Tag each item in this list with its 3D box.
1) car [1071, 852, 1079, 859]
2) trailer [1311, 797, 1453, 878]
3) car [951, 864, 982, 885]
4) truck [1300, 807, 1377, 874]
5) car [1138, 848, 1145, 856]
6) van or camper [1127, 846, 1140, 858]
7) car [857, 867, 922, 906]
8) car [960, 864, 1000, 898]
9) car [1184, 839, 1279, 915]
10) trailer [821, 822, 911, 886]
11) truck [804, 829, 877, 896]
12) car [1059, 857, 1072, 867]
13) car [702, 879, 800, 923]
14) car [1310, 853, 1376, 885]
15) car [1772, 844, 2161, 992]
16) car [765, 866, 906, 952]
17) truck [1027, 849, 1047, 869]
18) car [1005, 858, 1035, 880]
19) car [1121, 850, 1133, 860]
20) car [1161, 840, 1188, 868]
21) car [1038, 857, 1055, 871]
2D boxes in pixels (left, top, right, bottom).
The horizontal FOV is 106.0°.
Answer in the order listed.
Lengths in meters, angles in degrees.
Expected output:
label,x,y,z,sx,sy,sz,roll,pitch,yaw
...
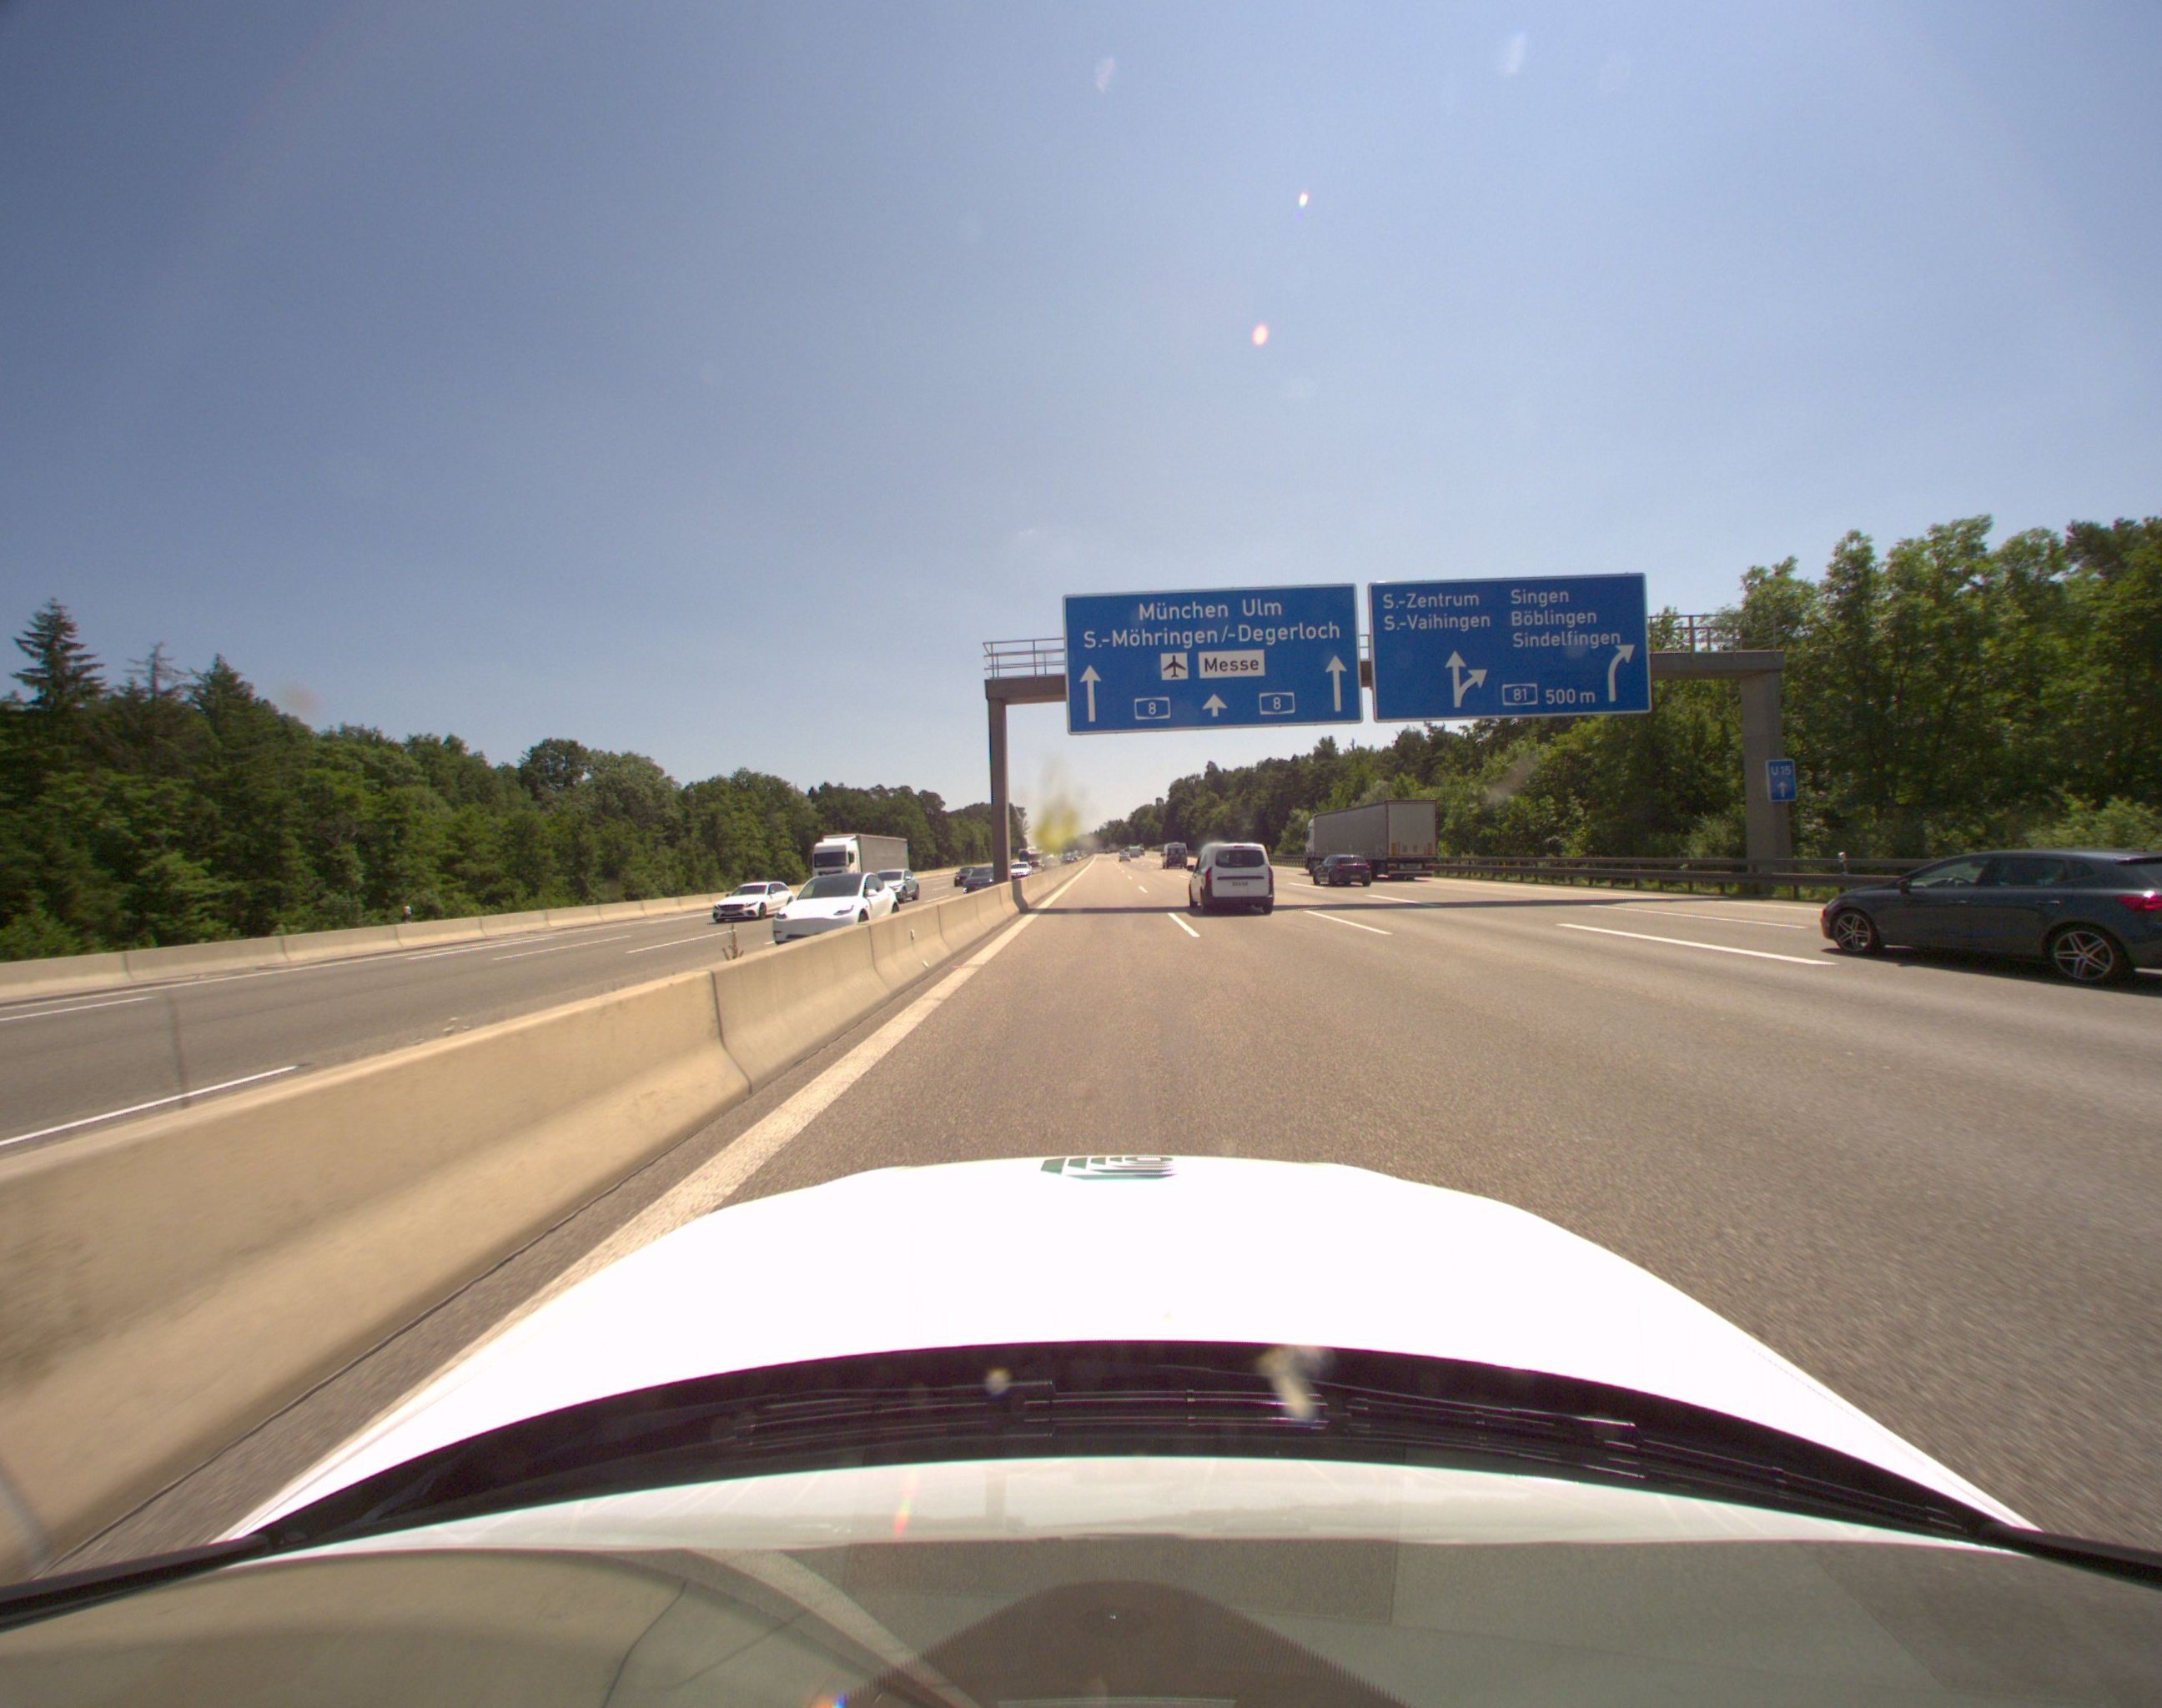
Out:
label,x,y,z,sx,sy,sz,roll,pitch,yaw
car,-1.357,0.347,189.667,1.829,1.338,3.644,-3,0,1
trailer,16.748,-0.837,46.947,3.276,3.930,13.893,-1,0,1
car,-8.651,1.510,61.874,1.543,1.442,4.725,-2,0,1
truck,16.884,-0.844,53.842,3.242,4.106,5.989,-1,0,1
car,16.134,-0.507,217.290,1.814,1.860,4.001,-2,0,1
van or camper,11.973,-0.438,185.238,2.635,2.539,6.504,-3,-1,2
car,-9.018,1.477,38.711,1.811,1.589,4.882,-2,0,1
car,-5.199,1.357,42.260,1.532,1.550,4.069,-3,0,-1
car,3.972,0.586,22.233,1.852,1.826,4.614,-1,-1,2
trailer,-16.188,0.124,62.679,2.744,4.246,13.722,-3,-1,2
truck,-16.378,0.598,55.910,2.750,4.220,6.380,-3,-1,1
car,-2.772,1.454,147.344,1.986,1.618,4.001,-3,0,1
car,-13.110,1.820,32.758,1.845,1.387,4.927,-4,0,0
car,11.731,0.693,36.758,1.664,1.273,4.291,-2,-1,2
car,11.339,0.612,10.129,1.637,1.438,4.636,0,0,1
car,-5.697,1.199,19.517,1.806,1.673,4.477,-3,0,2
truck,-6.545,0.742,121.415,2.130,2.838,7.672,-3,0,2
car,-4.868,1.190,65.807,1.840,1.550,5.215,-5,0,1
car,7.727,0.186,138.020,1.836,1.629,4.554,-3,-1,1
car,9.329,0.023,81.382,2.135,2.652,5.712,-2,0,2
car,-4.096,1.173,98.562,1.717,1.537,5.055,-3,0,1
